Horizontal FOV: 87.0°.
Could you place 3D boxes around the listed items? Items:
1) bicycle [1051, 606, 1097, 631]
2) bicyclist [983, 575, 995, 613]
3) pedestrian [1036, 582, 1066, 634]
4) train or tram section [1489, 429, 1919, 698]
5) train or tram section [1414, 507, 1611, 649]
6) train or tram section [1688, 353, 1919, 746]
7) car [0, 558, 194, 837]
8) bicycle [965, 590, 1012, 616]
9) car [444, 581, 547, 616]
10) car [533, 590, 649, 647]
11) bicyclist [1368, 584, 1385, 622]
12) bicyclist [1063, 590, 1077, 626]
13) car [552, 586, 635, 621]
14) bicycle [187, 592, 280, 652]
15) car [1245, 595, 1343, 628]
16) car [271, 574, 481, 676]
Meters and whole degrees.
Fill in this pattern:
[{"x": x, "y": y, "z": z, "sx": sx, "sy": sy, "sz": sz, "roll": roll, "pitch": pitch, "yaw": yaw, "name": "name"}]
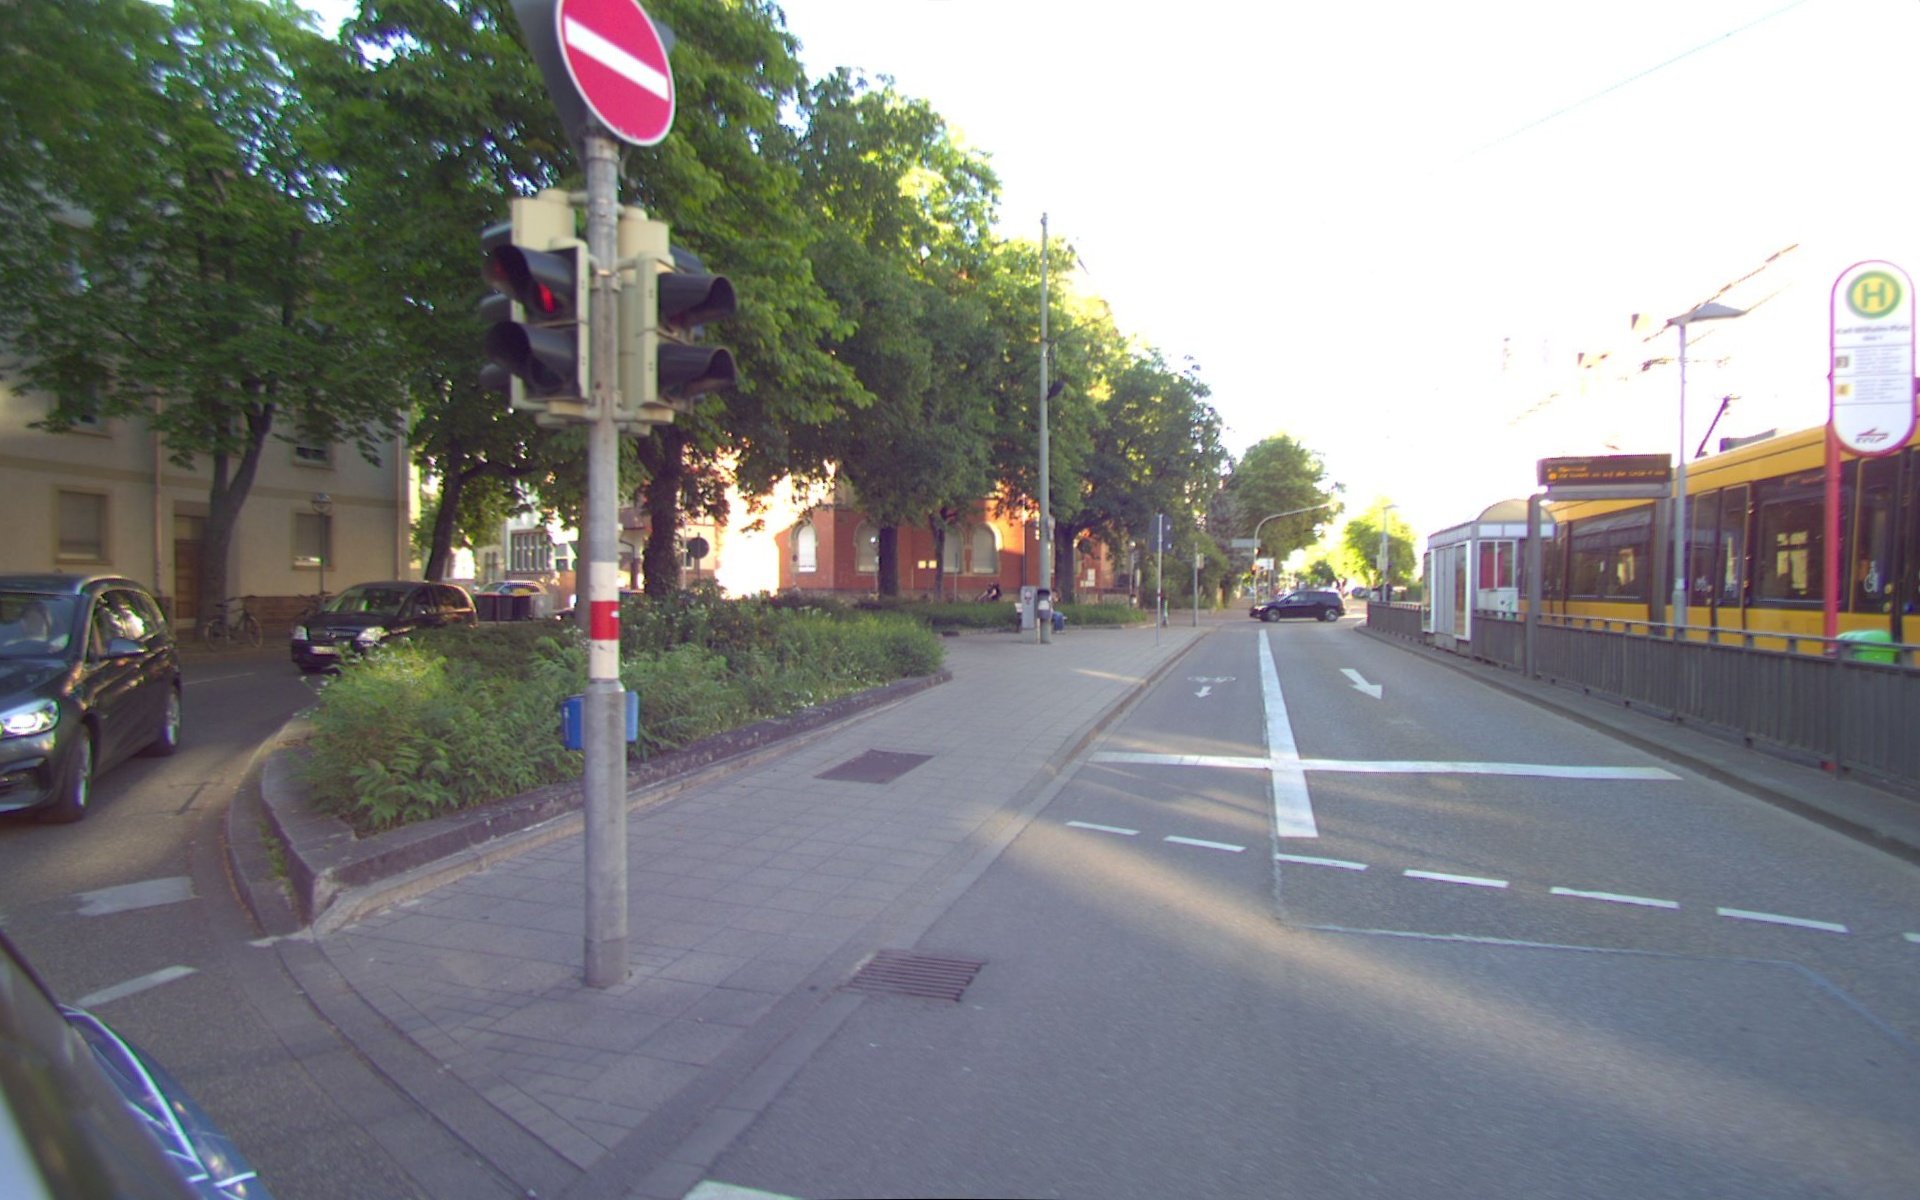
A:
[{"x": 5.078, "y": 0.829, "z": 45.221, "sx": 1.954, "sy": 1.065, "sz": 0.638, "roll": 1, "pitch": 0, "yaw": 0, "name": "bicycle"}, {"x": 1.221, "y": -0.246, "z": 42.322, "sx": 0.494, "sy": 1.585, "sz": 0.495, "roll": 1, "pitch": 0, "yaw": 4, "name": "bicyclist"}, {"x": 2.589, "y": 0.206, "z": 28.704, "sx": 0.706, "sy": 1.454, "sz": 0.595, "roll": 0, "pitch": 1, "yaw": 23, "name": "pedestrian"}, {"x": 13.358, "y": -0.526, "z": 19.908, "sx": 2.762, "sy": 3.614, "sz": 12.355, "roll": 0, "pitch": 0, "yaw": 16, "name": "train or tram section"}, {"x": 16.796, "y": -0.586, "z": 31.927, "sx": 2.749, "sy": 3.584, "sz": 12.615, "roll": 0, "pitch": 0, "yaw": 16, "name": "train or tram section"}, {"x": 10.049, "y": -0.461, "z": 8.316, "sx": 2.776, "sy": 3.647, "sz": 11.739, "roll": 0, "pitch": 0, "yaw": 16, "name": "train or tram section"}, {"x": -7.070, "y": 0.524, "z": 7.320, "sx": 1.764, "sy": 1.590, "sz": 4.274, "roll": 1, "pitch": 0, "yaw": -28, "name": "car"}, {"x": 1.196, "y": 0.108, "z": 42.354, "sx": 1.955, "sy": 1.065, "sz": 0.638, "roll": 1, "pitch": 0, "yaw": 3, "name": "bicycle"}, {"x": -20.053, "y": -0.059, "z": 43.836, "sx": 1.672, "sy": 1.436, "sz": 3.760, "roll": 0, "pitch": 0, "yaw": 34, "name": "car"}, {"x": -10.090, "y": 0.478, "z": 27.959, "sx": 1.659, "sy": 1.419, "sz": 3.684, "roll": 2, "pitch": 0, "yaw": 3, "name": "car"}, {"x": 17.502, "y": 0.124, "z": 42.536, "sx": 0.593, "sy": 1.585, "sz": 0.552, "roll": 1, "pitch": 0, "yaw": 19, "name": "bicyclist"}, {"x": 4.919, "y": 0.357, "z": 45.222, "sx": 0.547, "sy": 1.585, "sz": 0.598, "roll": 1, "pitch": 0, "yaw": -1, "name": "bicyclist"}, {"x": -17.488, "y": 0.159, "z": 48.246, "sx": 4.180, "sy": 1.564, "sz": 1.783, "roll": 0, "pitch": 0, "yaw": 38, "name": "car"}, {"x": -15.727, "y": 0.445, "z": 21.967, "sx": 0.709, "sy": 1.232, "sz": 1.916, "roll": 1, "pitch": 0, "yaw": -3, "name": "bicycle"}, {"x": 15.354, "y": 0.496, "z": 46.759, "sx": 3.952, "sy": 1.454, "sz": 1.974, "roll": 1, "pitch": 0, "yaw": 7, "name": "car"}, {"x": -10.489, "y": 0.398, "z": 18.500, "sx": 1.657, "sy": 1.640, "sz": 3.687, "roll": 2, "pitch": 0, "yaw": 0, "name": "car"}]
